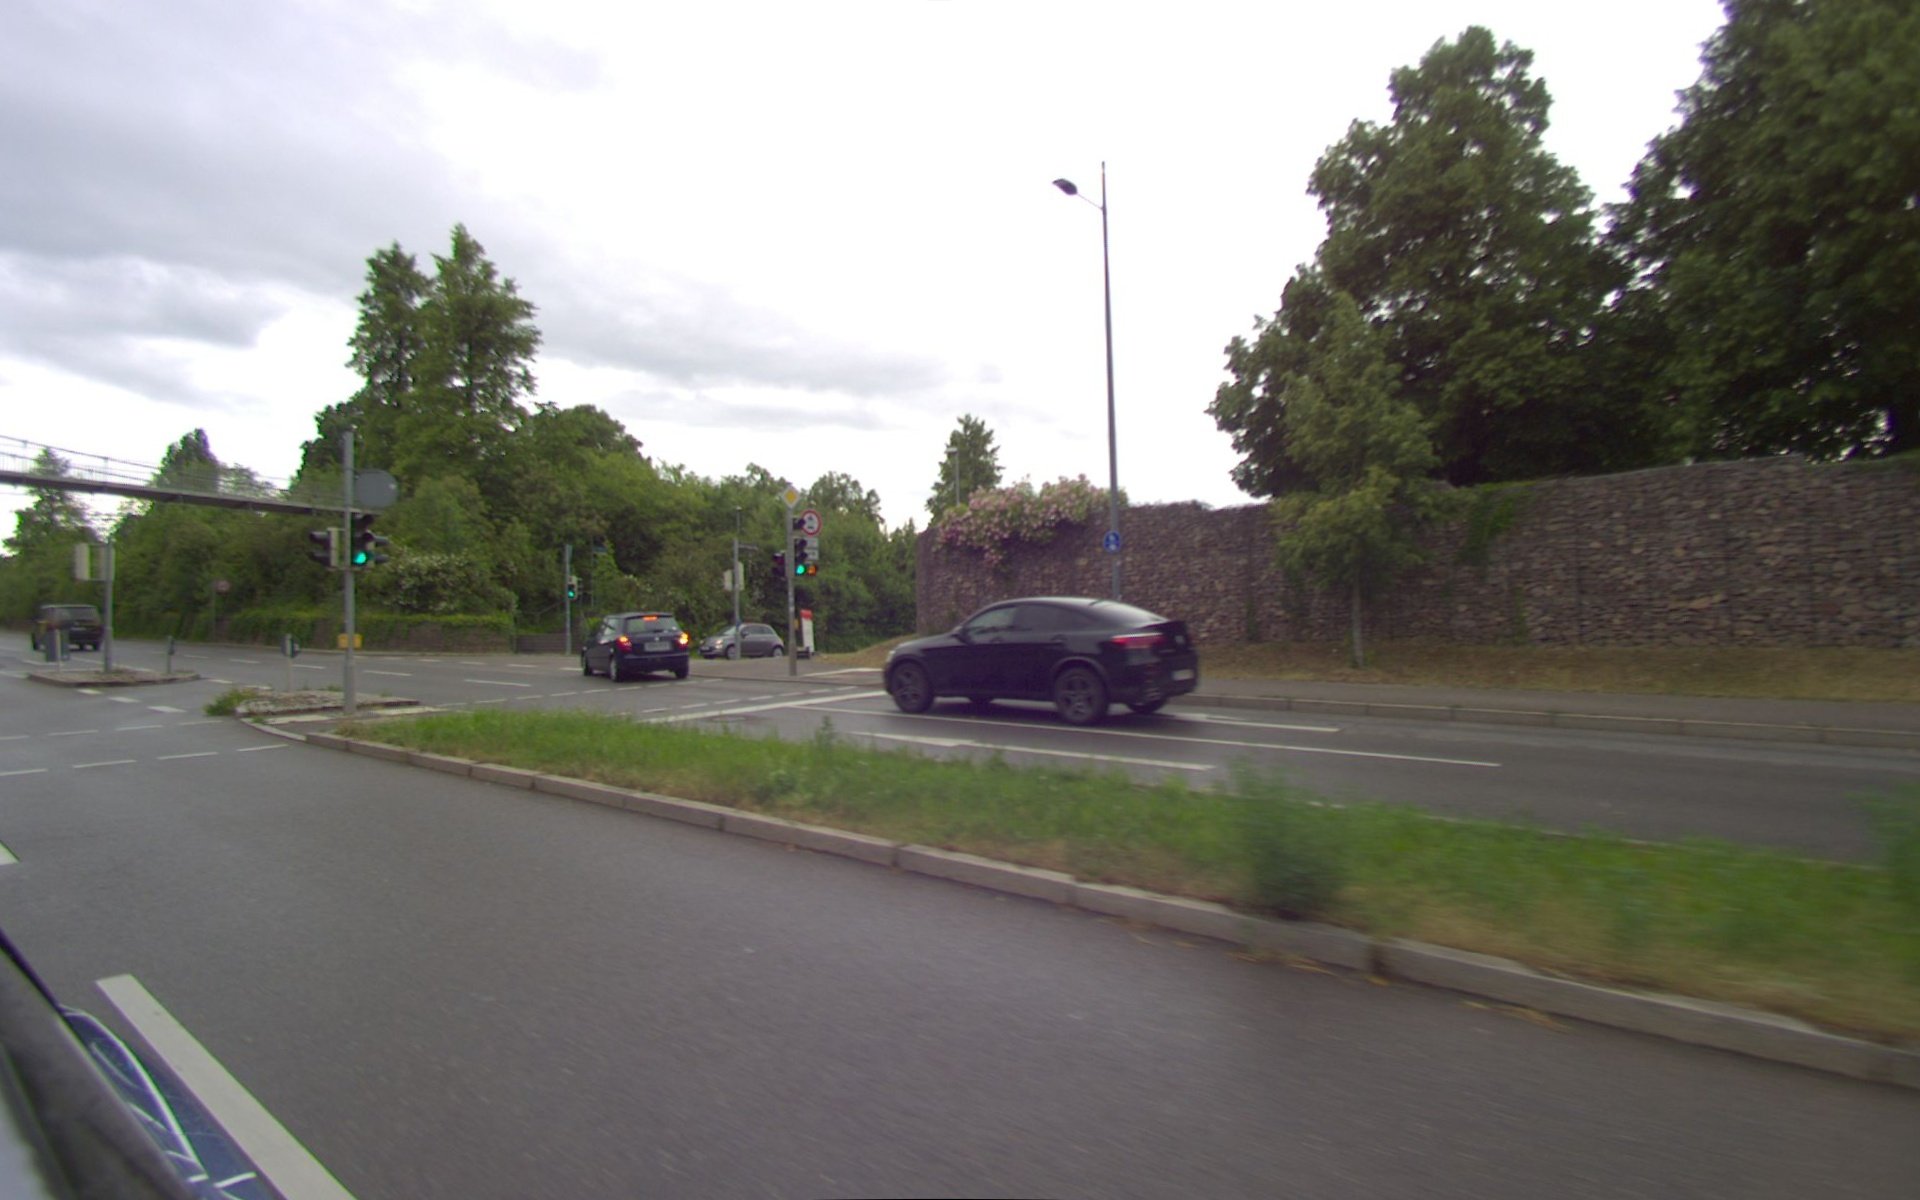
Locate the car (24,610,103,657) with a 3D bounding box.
[{"bbox_3d":[-39.507,1.434,44.563,5.092,1.934,1.993,-1,-1,41],"label":"car"}]

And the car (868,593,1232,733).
[{"bbox_3d":[1.098,0.756,13.912,4.762,1.607,1.862,-1,0,40],"label":"car"}]

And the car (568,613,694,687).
[{"bbox_3d":[-7.535,1.073,22.964,1.577,1.501,4.009,0,-1,-36],"label":"car"}]

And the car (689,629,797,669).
[{"bbox_3d":[-8.569,1.944,40.165,3.940,1.484,1.693,2,-5,-44],"label":"car"}]
